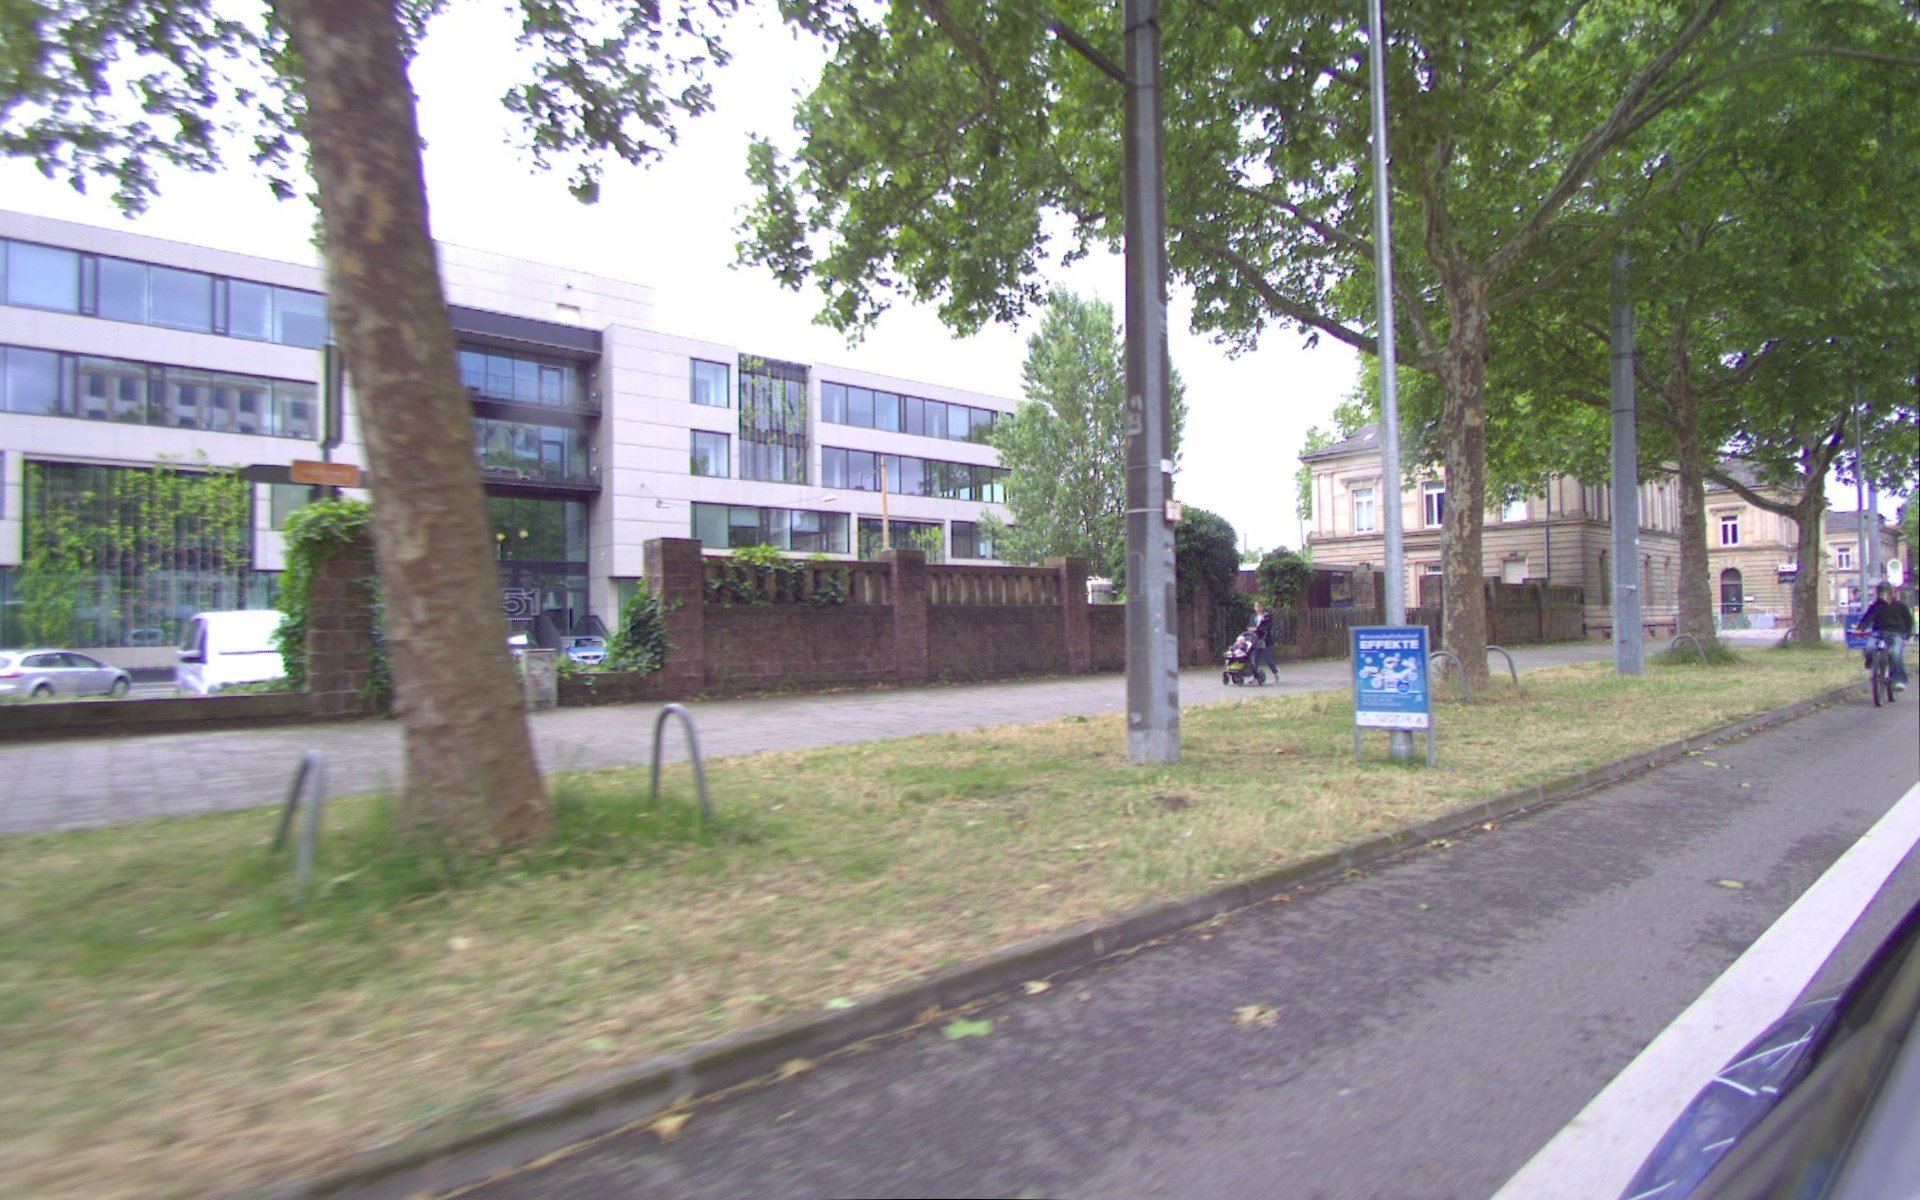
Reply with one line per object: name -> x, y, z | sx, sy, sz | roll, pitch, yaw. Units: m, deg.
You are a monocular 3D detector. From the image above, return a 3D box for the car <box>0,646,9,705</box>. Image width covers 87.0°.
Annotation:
car -> -27.470, 2.106, 26.172 | 1.959, 1.638, 4.416 | -1, -1, -7

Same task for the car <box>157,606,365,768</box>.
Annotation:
car -> -10.773, 1.174, 15.428 | 1.966, 2.039, 4.880 | -1, -1, -43

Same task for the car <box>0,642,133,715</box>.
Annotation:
car -> -24.619, 2.041, 26.953 | 1.959, 1.638, 4.416 | -1, -1, -7

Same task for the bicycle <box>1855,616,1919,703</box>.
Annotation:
bicycle -> 14.052, 0.851, 15.209 | 2.244, 1.164, 0.653 | -1, -1, -43

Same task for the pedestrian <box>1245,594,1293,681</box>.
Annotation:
pedestrian -> 6.028, 0.714, 19.746 | 0.657, 1.653, 0.560 | -1, -1, -35

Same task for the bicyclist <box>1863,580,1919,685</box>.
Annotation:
bicyclist -> 14.183, 0.478, 15.339 | 0.653, 1.550, 0.641 | 0, -1, -42

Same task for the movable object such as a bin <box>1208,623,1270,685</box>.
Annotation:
movable object such as a bin -> 5.295, 1.004, 19.214 | 0.995, 1.126, 0.613 | 0, -2, -35
